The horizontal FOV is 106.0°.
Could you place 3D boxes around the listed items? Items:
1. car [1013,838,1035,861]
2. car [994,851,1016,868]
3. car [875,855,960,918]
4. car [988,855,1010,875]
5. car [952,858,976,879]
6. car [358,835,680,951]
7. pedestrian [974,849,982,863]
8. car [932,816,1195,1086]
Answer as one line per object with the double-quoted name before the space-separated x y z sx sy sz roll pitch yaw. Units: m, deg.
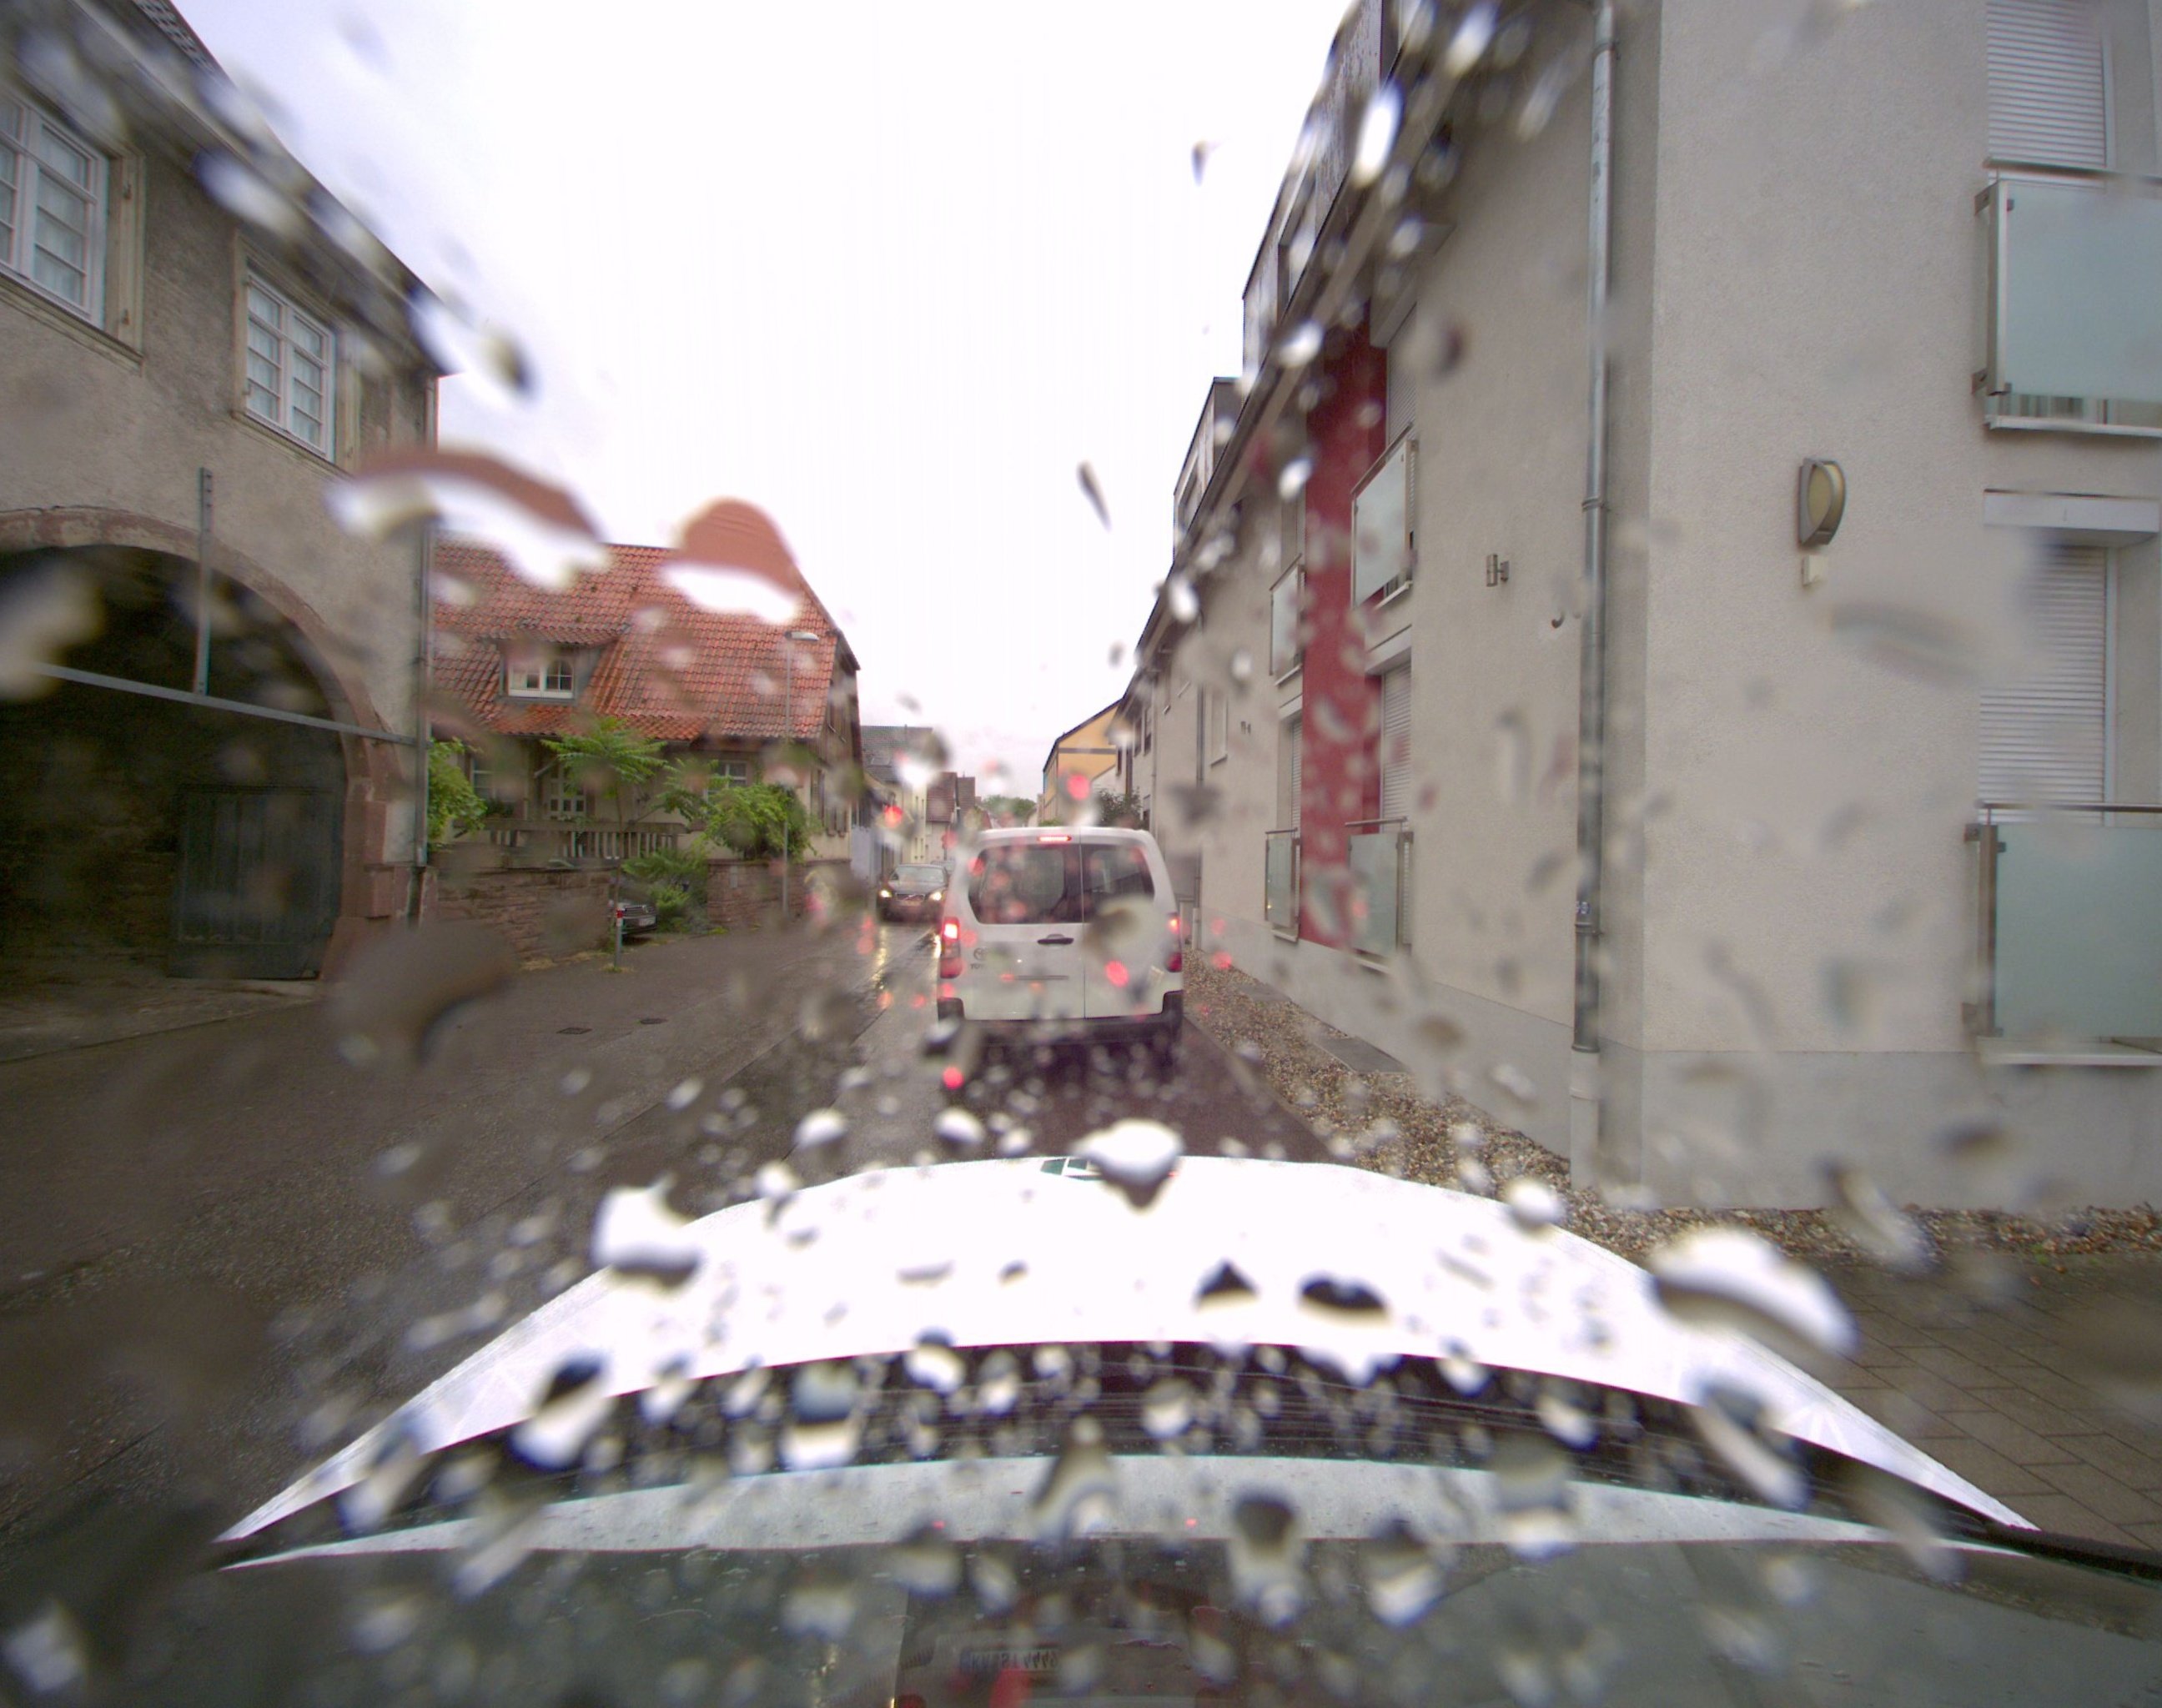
"car" -5.316 -0.397 76.705 1.989 2.014 3.995 0 -1 -3
"car" -6.643 0.472 70.983 1.778 1.395 3.989 0 -1 -7
"car" -4.306 0.803 22.018 1.693 1.509 4.334 1 0 -5
"car" -6.392 0.844 63.342 1.559 1.477 3.989 0 -1 -7
"car" -9.371 1.157 65.699 1.831 1.556 4.228 1 -1 -7
"car" -9.111 0.610 13.450 3.973 1.425 1.736 5 -1 1
"pedestrian" -13.999 0.276 111.105 1.049 1.893 0.875 0 -1 -7
"car" -0.324 0.649 7.471 1.773 1.780 3.991 0 -1 -7
